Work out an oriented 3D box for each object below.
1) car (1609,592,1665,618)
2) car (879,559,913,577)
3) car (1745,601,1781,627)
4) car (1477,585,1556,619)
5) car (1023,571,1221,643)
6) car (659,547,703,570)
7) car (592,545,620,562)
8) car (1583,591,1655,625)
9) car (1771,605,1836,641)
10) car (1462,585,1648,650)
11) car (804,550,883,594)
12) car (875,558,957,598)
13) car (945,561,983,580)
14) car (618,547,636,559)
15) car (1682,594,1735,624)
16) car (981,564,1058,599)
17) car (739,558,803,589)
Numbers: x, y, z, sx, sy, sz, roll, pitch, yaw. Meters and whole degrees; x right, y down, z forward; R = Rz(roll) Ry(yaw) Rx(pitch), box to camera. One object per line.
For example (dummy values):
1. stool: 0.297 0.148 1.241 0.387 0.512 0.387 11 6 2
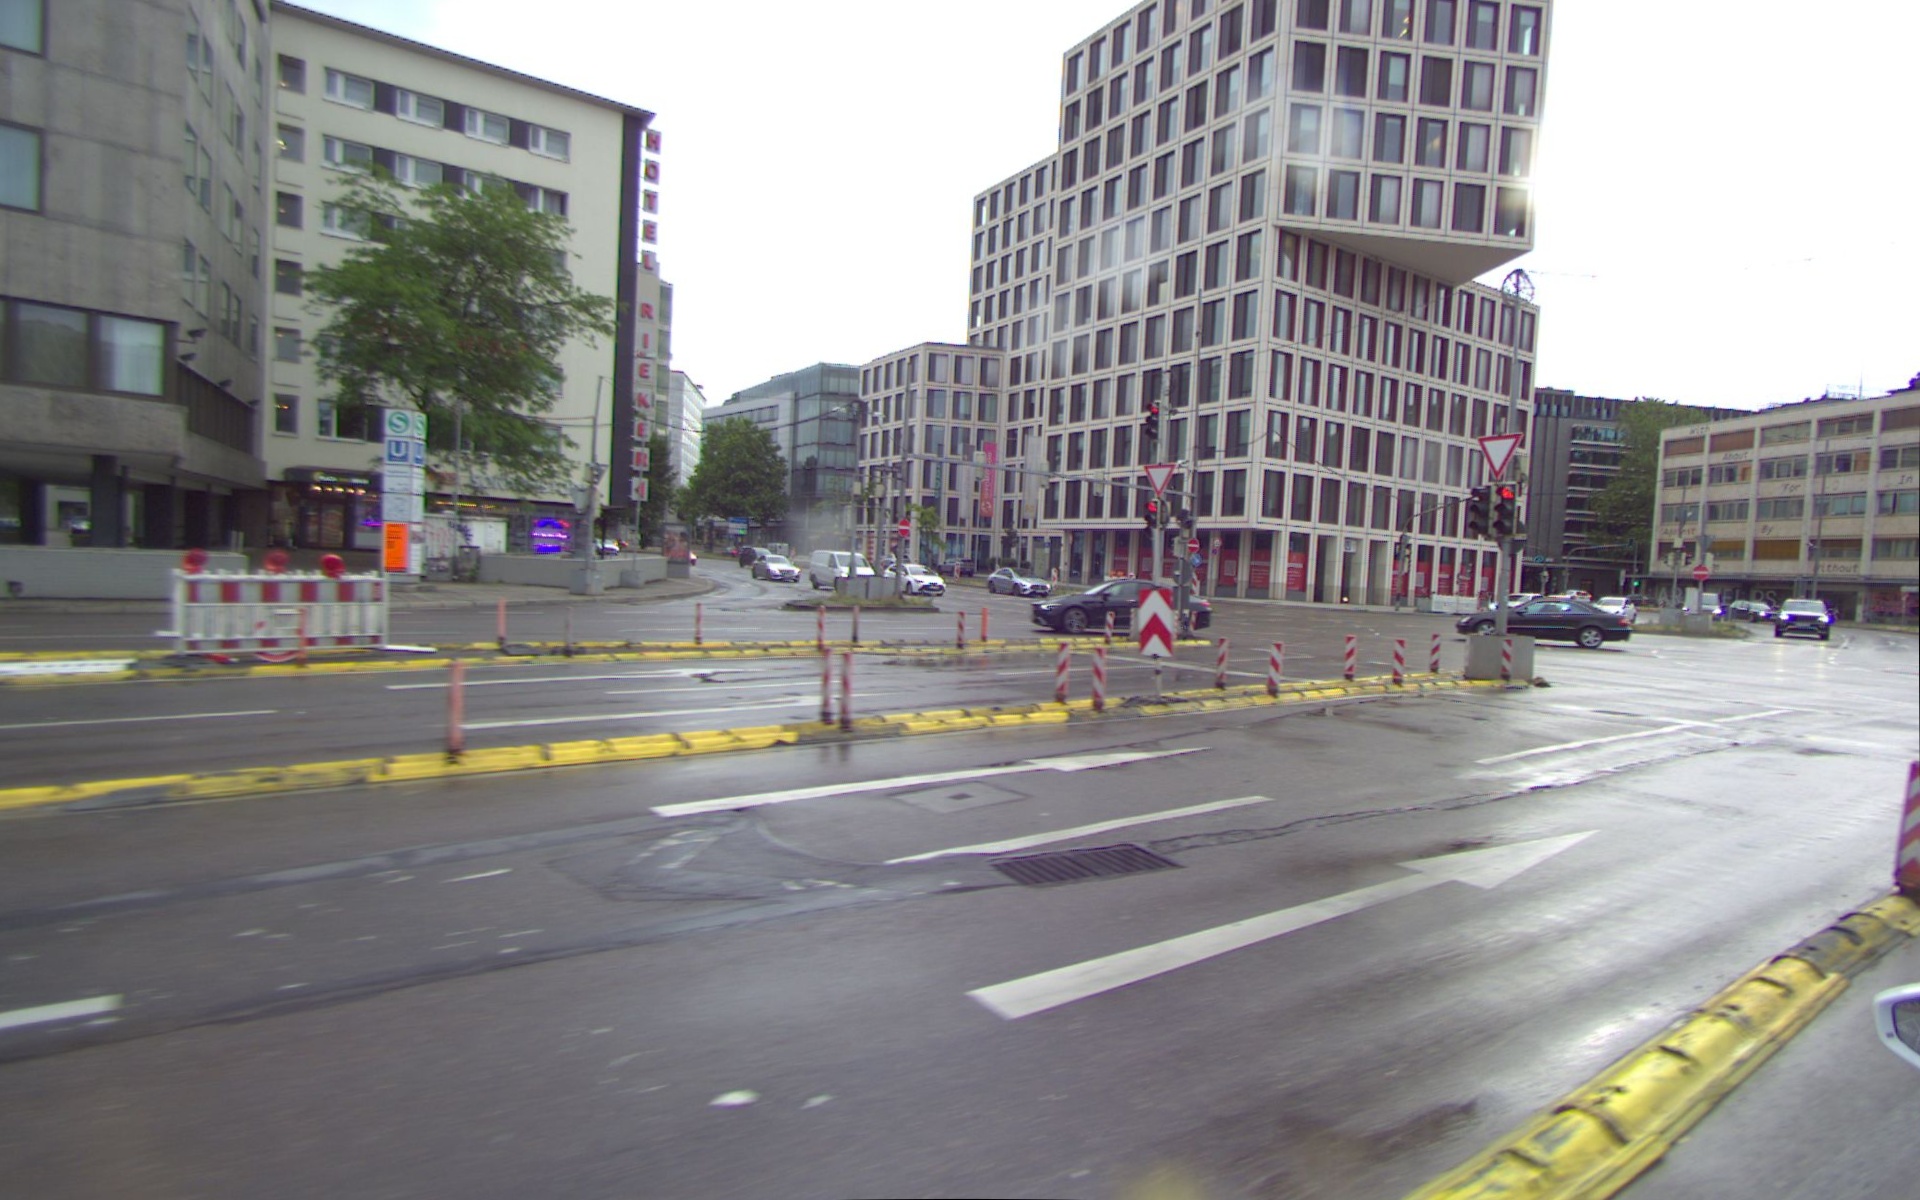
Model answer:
1. car: 61.696 0.428 91.551 1.963 2.041 3.994 3 3 -7
2. car: -6.278 -3.140 98.190 1.844 1.543 3.970 2 2 -28
3. car: 55.043 0.911 68.889 1.746 1.595 3.982 6 4 39
4. car: 32.316 0.144 58.293 4.766 1.777 2.206 1 2 -36
5. car: 4.070 0.153 25.730 4.578 1.620 2.015 2 2 -8
6. car: -21.542 -3.244 77.538 1.996 1.620 4.621 1 2 -33
7. car: -33.831 -4.460 95.966 1.762 1.503 3.455 1 2 -31
8. car: 37.907 0.472 57.766 3.953 1.840 1.791 1 3 -30
9. car: 39.082 1.045 46.523 3.972 1.506 1.812 0 3 -44
10. car: 17.681 0.470 30.126 4.578 1.620 2.015 3 2 29
11. car: -5.669 -1.395 48.424 2.061 1.930 5.047 1 2 -28
12. car: -2.203 -1.123 48.936 1.995 1.762 4.624 1 2 -31
13. car: 0.322 -2.588 88.384 1.843 1.543 3.973 2 2 -26
14. car: -46.728 -6.592 140.828 1.843 1.543 3.973 2 2 -26
15. car: 42.977 0.502 57.762 1.856 1.578 3.993 3 2 29
16. car: 3.069 -0.977 52.581 1.991 1.620 4.632 1 2 -26
17. car: -10.846 -1.522 57.270 1.996 1.620 4.621 1 2 -33
